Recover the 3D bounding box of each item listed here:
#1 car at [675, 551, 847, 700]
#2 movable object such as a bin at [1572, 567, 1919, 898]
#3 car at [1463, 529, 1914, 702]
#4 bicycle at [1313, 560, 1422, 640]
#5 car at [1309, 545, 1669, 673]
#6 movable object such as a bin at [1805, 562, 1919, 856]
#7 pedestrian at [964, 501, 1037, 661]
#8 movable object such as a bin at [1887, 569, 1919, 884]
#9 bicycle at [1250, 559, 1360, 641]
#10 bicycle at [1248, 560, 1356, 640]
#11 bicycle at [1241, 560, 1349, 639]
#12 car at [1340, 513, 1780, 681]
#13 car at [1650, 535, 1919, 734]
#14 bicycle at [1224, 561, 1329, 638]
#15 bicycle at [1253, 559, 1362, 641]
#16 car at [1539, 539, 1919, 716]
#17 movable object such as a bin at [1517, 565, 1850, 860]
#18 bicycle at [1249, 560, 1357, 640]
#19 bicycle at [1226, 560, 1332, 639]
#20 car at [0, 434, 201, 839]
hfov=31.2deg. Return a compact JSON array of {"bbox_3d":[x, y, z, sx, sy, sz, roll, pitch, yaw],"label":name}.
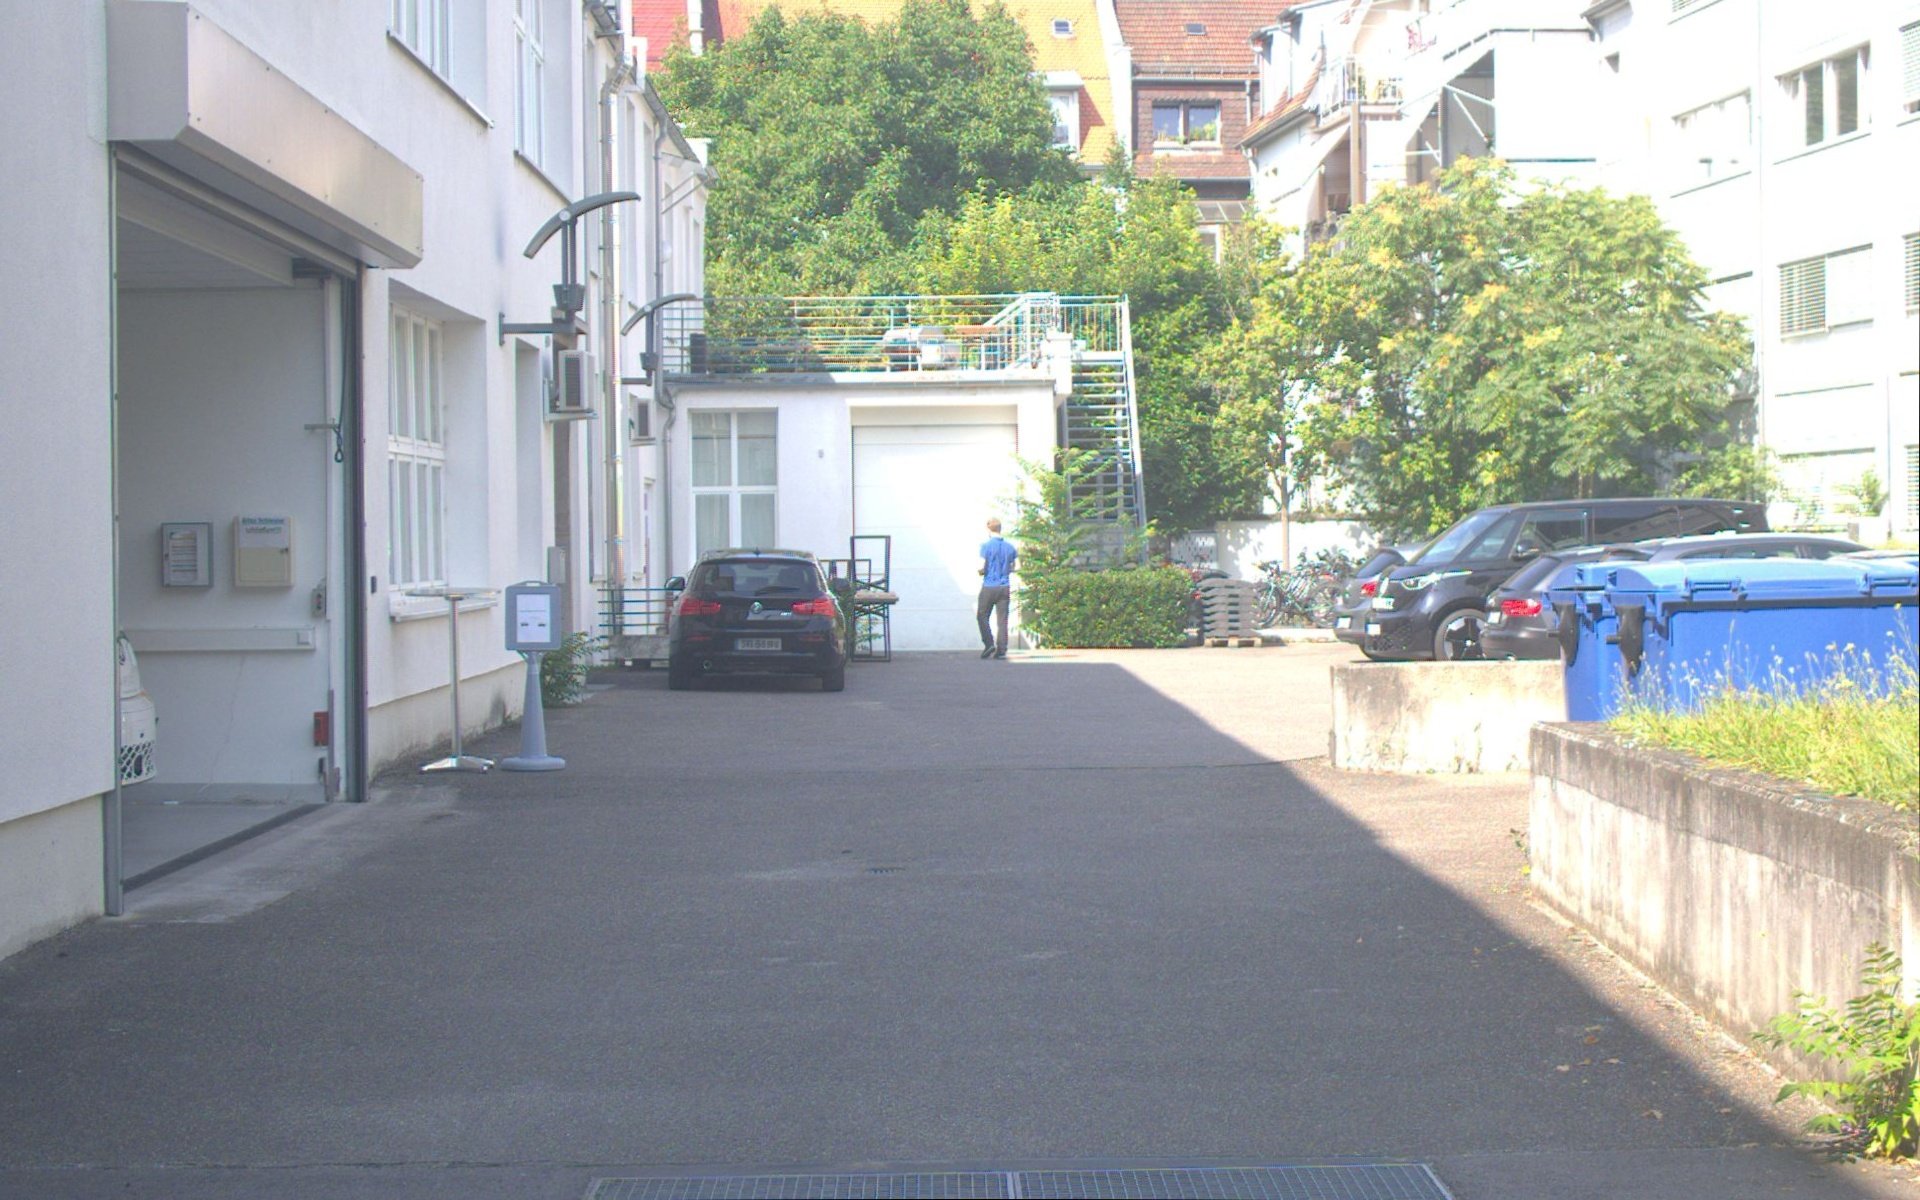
[{"bbox_3d":[-2.016,0.241,35.665,1.688,1.454,3.923,0,0,-2],"label":"car"},{"bbox_3d":[3.354,0.534,14.460,1.309,1.336,1.100,0,0,-3],"label":"movable object such as a bin"},{"bbox_3d":[7.280,0.150,34.585,4.116,1.686,1.771,0,0,-3],"label":"car"},{"bbox_3d":[6.325,-0.002,53.333,1.624,1.210,0.327,-1,1,15],"label":"bicycle"},{"bbox_3d":[6.385,0.106,41.675,3.931,1.477,1.775,-1,0,-9],"label":"car"},{"bbox_3d":[4.708,0.494,16.168,1.235,1.336,1.117,0,0,3],"label":"movable object such as a bin"},{"bbox_3d":[0.508,-0.244,43.613,0.914,2.007,0.935,0,0,0],"label":"pedestrian"},{"bbox_3d":[4.686,0.537,14.450,1.226,1.336,1.077,0,0,-5],"label":"movable object such as a bin"},{"bbox_3d":[5.254,0.000,52.369,1.623,1.210,0.327,-1,1,1],"label":"bicycle"},{"bbox_3d":[5.320,-0.005,53.435,1.624,1.210,0.327,-1,1,10],"label":"bicycle"},{"bbox_3d":[5.240,-0.007,53.800,1.624,1.210,0.327,-1,1,13],"label":"bicycle"},{"bbox_3d":[6.735,-0.039,38.788,4.499,1.788,1.883,-1,0,-9],"label":"car"},{"bbox_3d":[7.890,0.270,28.560,3.798,1.583,1.898,0,0,-10],"label":"car"},{"bbox_3d":[5.120,-0.016,55.714,1.623,1.210,0.424,-1,1,-5],"label":"bicycle"},{"bbox_3d":[5.318,-0.001,52.690,1.623,1.210,0.327,-1,1,1],"label":"bicycle"},{"bbox_3d":[7.489,0.243,31.765,3.861,1.583,1.880,0,0,-5],"label":"car"},{"bbox_3d":[3.381,0.507,16.212,1.300,1.336,1.195,0,0,-1],"label":"movable object such as a bin"},{"bbox_3d":[5.287,-0.003,52.984,1.623,1.210,0.327,-1,1,1],"label":"bicycle"},{"bbox_3d":[5.048,-0.010,54.477,1.623,1.210,0.424,-1,1,-1],"label":"bicycle"},{"bbox_3d":[-6.762,0.157,18.794,4.747,2.085,2.056,1,0,0],"label":"car"}]
